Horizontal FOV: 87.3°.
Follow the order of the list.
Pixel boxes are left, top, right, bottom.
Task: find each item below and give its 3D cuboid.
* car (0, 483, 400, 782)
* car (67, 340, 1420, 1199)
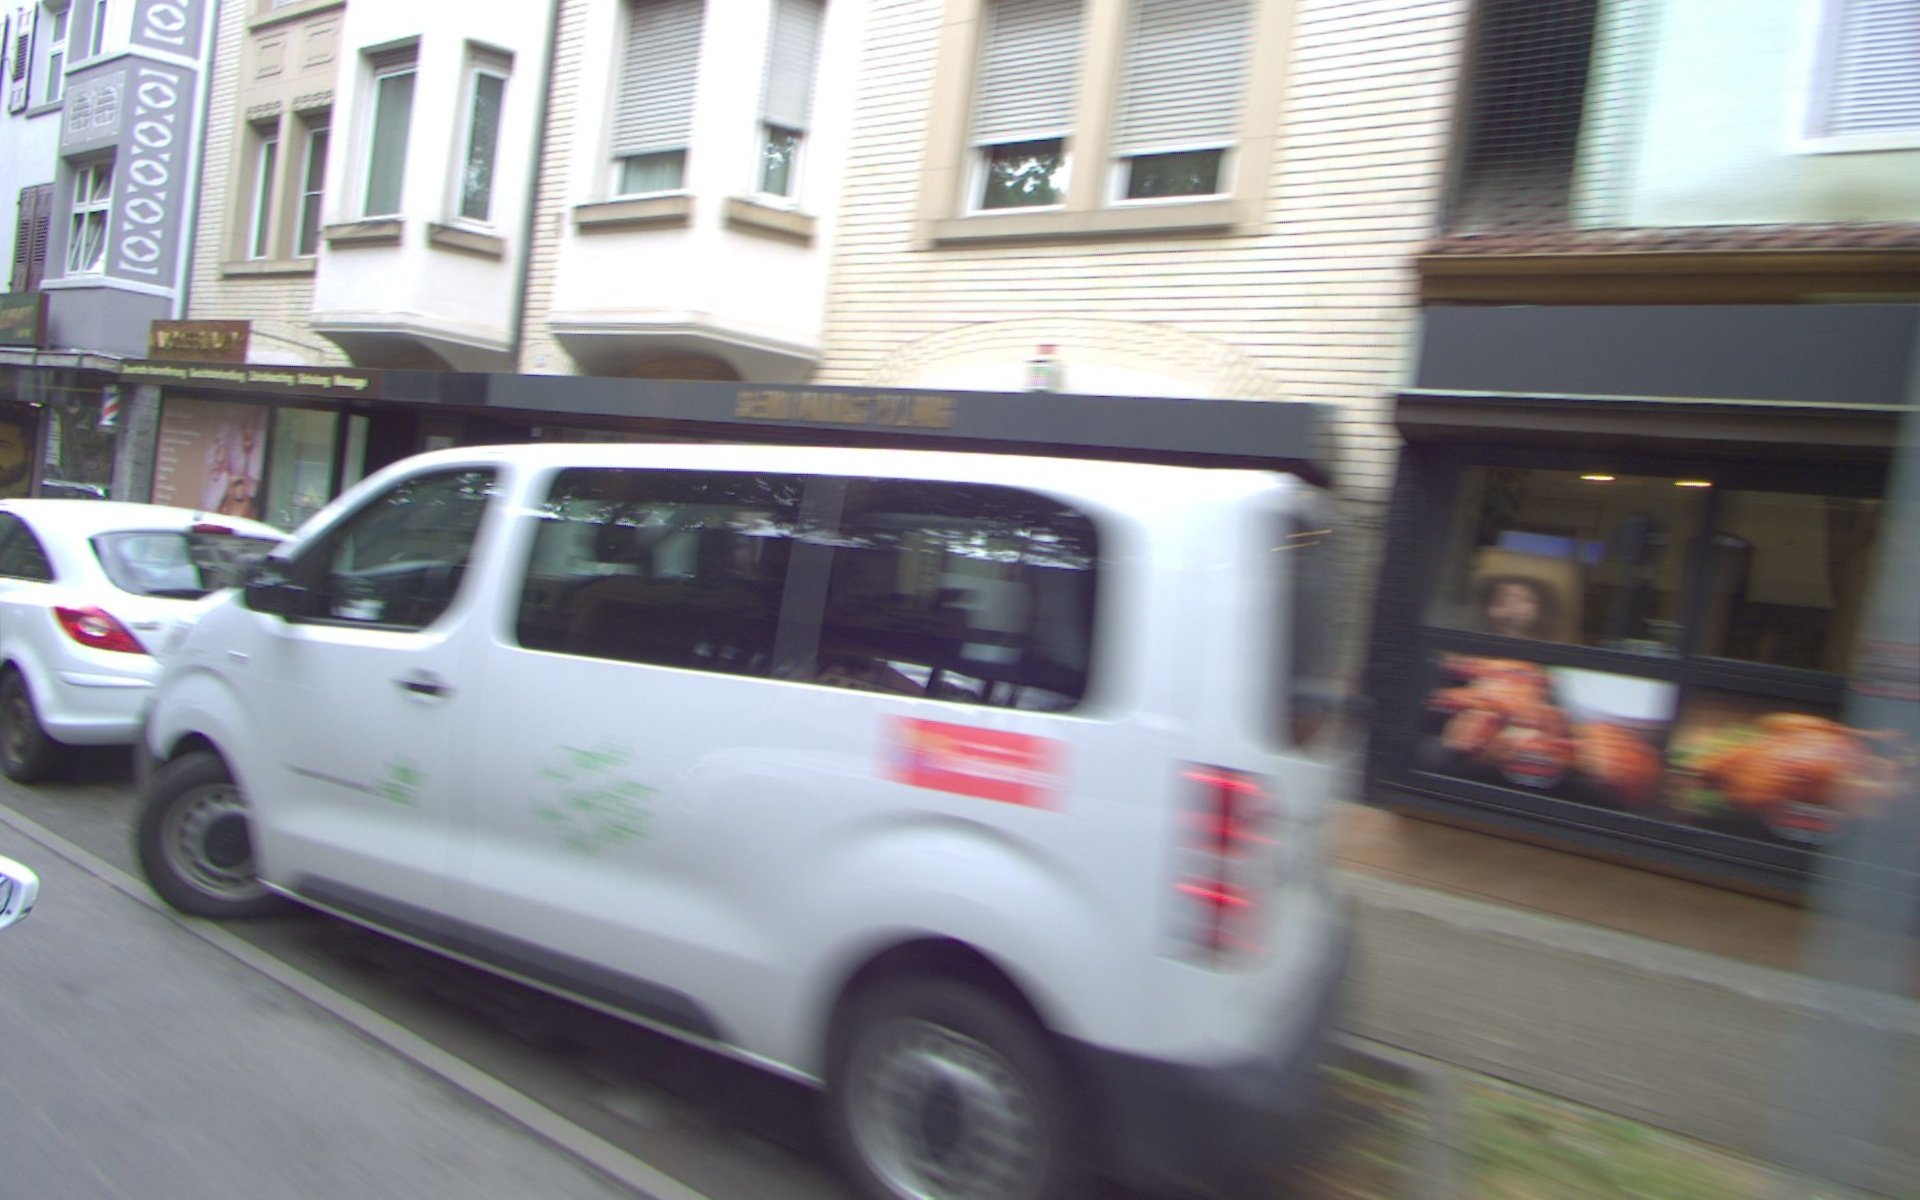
[{"bbox_3d":[-5.738,0.018,6.676,3.973,1.434,1.684,7,2,30],"label":"car"},{"bbox_3d":[-1.039,0.284,3.851,4.834,1.955,1.909,7,2,28],"label":"car"}]
